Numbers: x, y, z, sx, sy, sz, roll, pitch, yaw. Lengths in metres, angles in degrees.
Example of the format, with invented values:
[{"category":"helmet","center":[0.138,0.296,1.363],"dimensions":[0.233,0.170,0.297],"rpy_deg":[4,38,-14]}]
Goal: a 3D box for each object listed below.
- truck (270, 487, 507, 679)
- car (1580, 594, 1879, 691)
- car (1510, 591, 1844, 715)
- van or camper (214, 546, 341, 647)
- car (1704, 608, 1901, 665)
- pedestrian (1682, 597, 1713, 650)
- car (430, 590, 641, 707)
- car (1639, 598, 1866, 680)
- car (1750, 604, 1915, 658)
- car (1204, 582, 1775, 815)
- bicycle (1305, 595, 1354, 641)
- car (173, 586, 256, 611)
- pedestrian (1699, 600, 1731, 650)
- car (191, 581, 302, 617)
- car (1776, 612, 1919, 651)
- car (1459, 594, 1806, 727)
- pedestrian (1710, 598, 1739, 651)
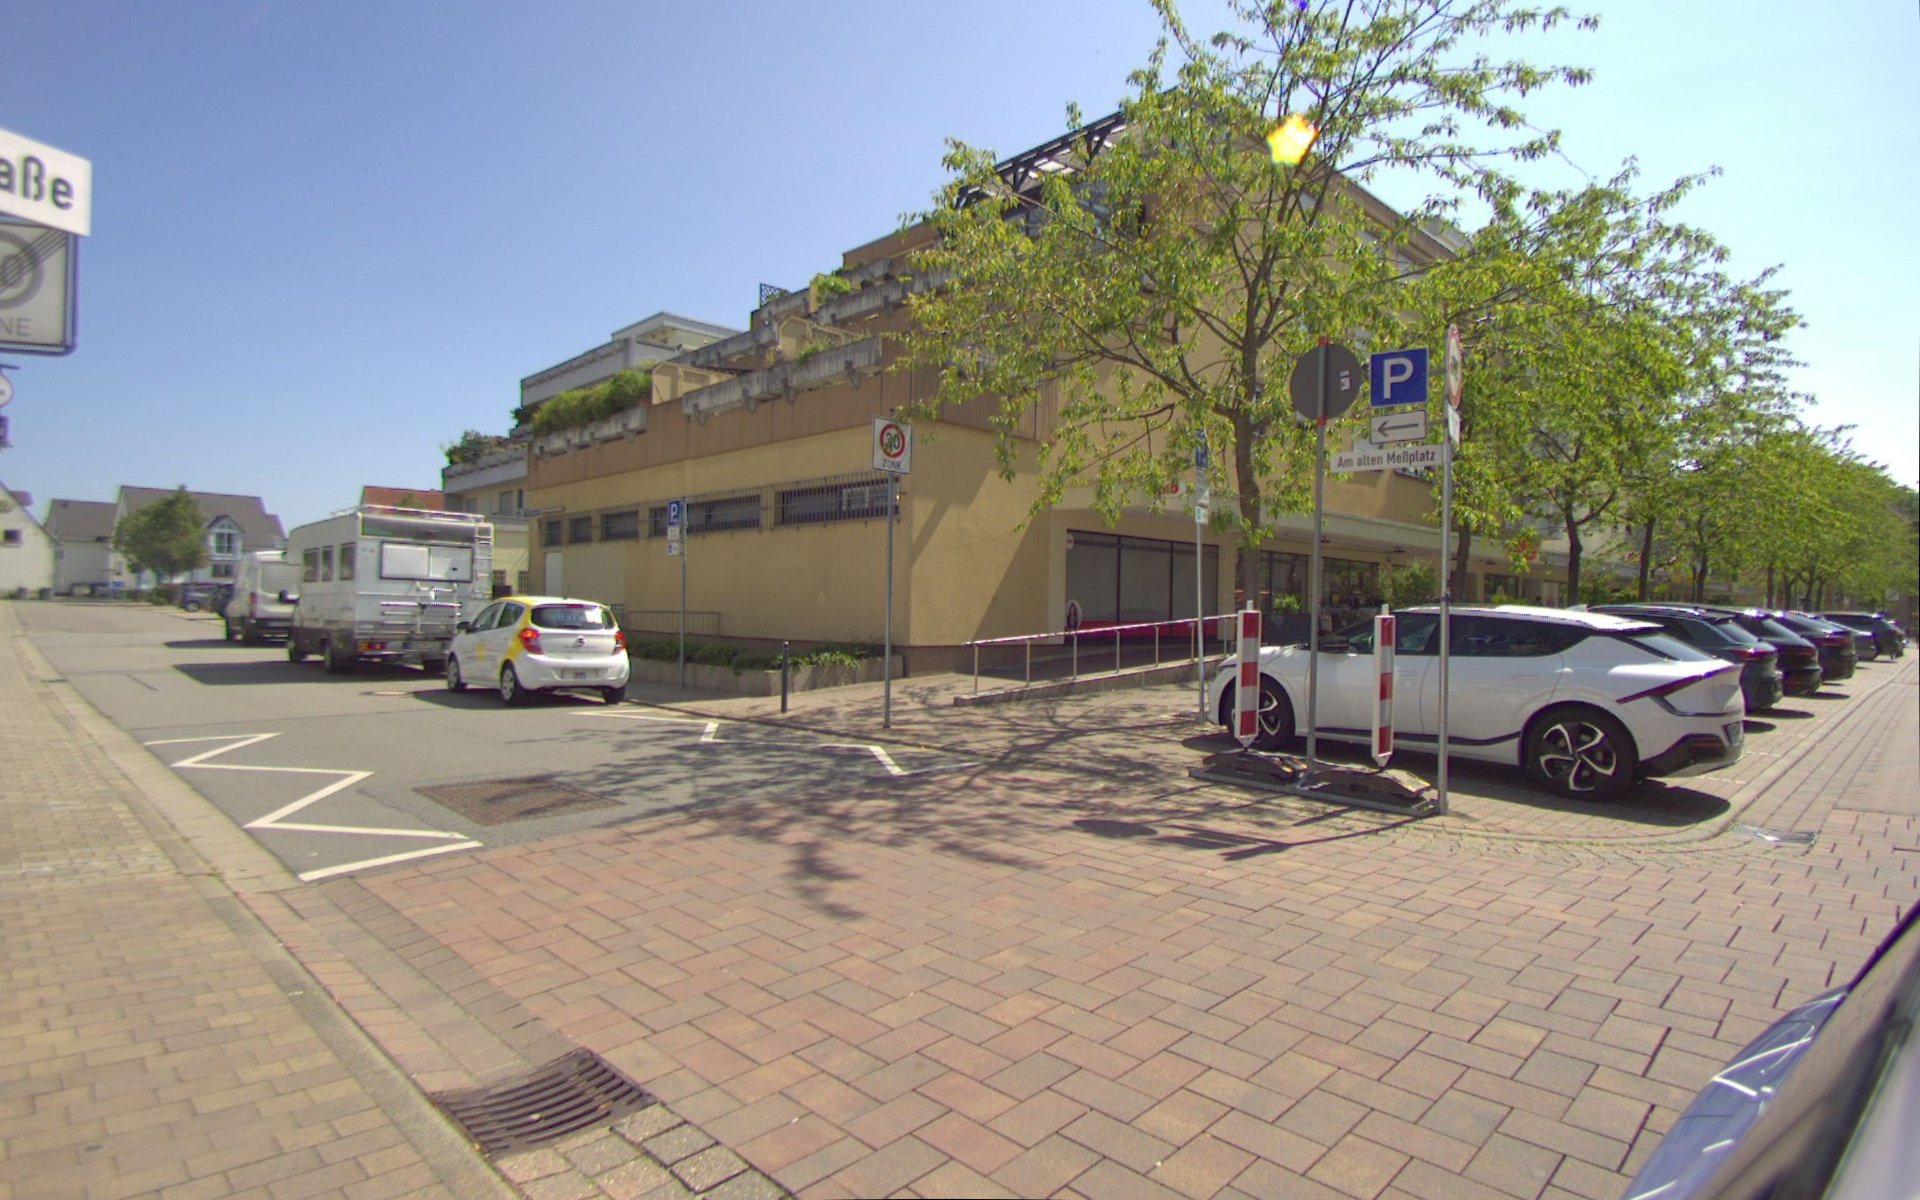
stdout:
[{"category":"truck","center":[-11.049,-0.266,19.268],"dimensions":[2.501,3.044,6.392],"rpy_deg":[1,-1,-43]},{"category":"car","center":[15.320,0.770,20.345],"dimensions":[1.818,1.608,4.515],"rpy_deg":[1,1,-42]},{"category":"car","center":[11.766,0.758,16.794],"dimensions":[4.280,1.702,1.969],"rpy_deg":[2,1,44]},{"category":"van or camper","center":[-18.560,-0.099,27.446],"dimensions":[2.035,2.510,4.660],"rpy_deg":[1,-1,-44]},{"category":"car","center":[26.089,1.090,31.539],"dimensions":[4.346,1.482,1.872],"rpy_deg":[2,1,28]},{"category":"pedestrian","center":[25.644,0.814,35.205],"dimensions":[0.621,1.796,0.685],"rpy_deg":[0,-1,8]},{"category":"car","center":[-6.278,0.626,14.785],"dimensions":[1.627,1.470,3.617],"rpy_deg":[2,-1,-44]},{"category":"car","center":[18.583,0.844,23.857],"dimensions":[1.654,1.632,4.029],"rpy_deg":[1,2,-45]},{"category":"car","center":[30.581,1.029,35.550],"dimensions":[1.728,1.638,4.246],"rpy_deg":[1,1,-45]},{"category":"car","center":[4.729,0.700,9.580],"dimensions":[1.759,1.595,4.445],"rpy_deg":[1,1,-44]},{"category":"bicycle","center":[9.430,0.452,25.773],"dimensions":[1.744,1.138,0.413],"rpy_deg":[0,-1,-43]},{"category":"car","center":[-41.464,-0.057,56.349],"dimensions":[1.384,1.329,3.464],"rpy_deg":[1,0,38]},{"category":"pedestrian","center":[26.835,0.883,35.983],"dimensions":[0.634,1.753,0.617],"rpy_deg":[0,-1,-10]},{"category":"car","center":[-32.681,-0.018,46.425],"dimensions":[1.648,1.597,3.882],"rpy_deg":[-1,-1,38]},{"category":"car","center":[38.296,1.309,43.700],"dimensions":[1.776,1.563,4.578],"rpy_deg":[2,-1,-43]},{"category":"car","center":[9.758,0.767,14.884],"dimensions":[1.794,1.553,3.947],"rpy_deg":[1,1,-45]},{"category":"pedestrian","center":[26.457,0.830,35.029],"dimensions":[0.598,1.819,0.624],"rpy_deg":[0,-1,18]}]
